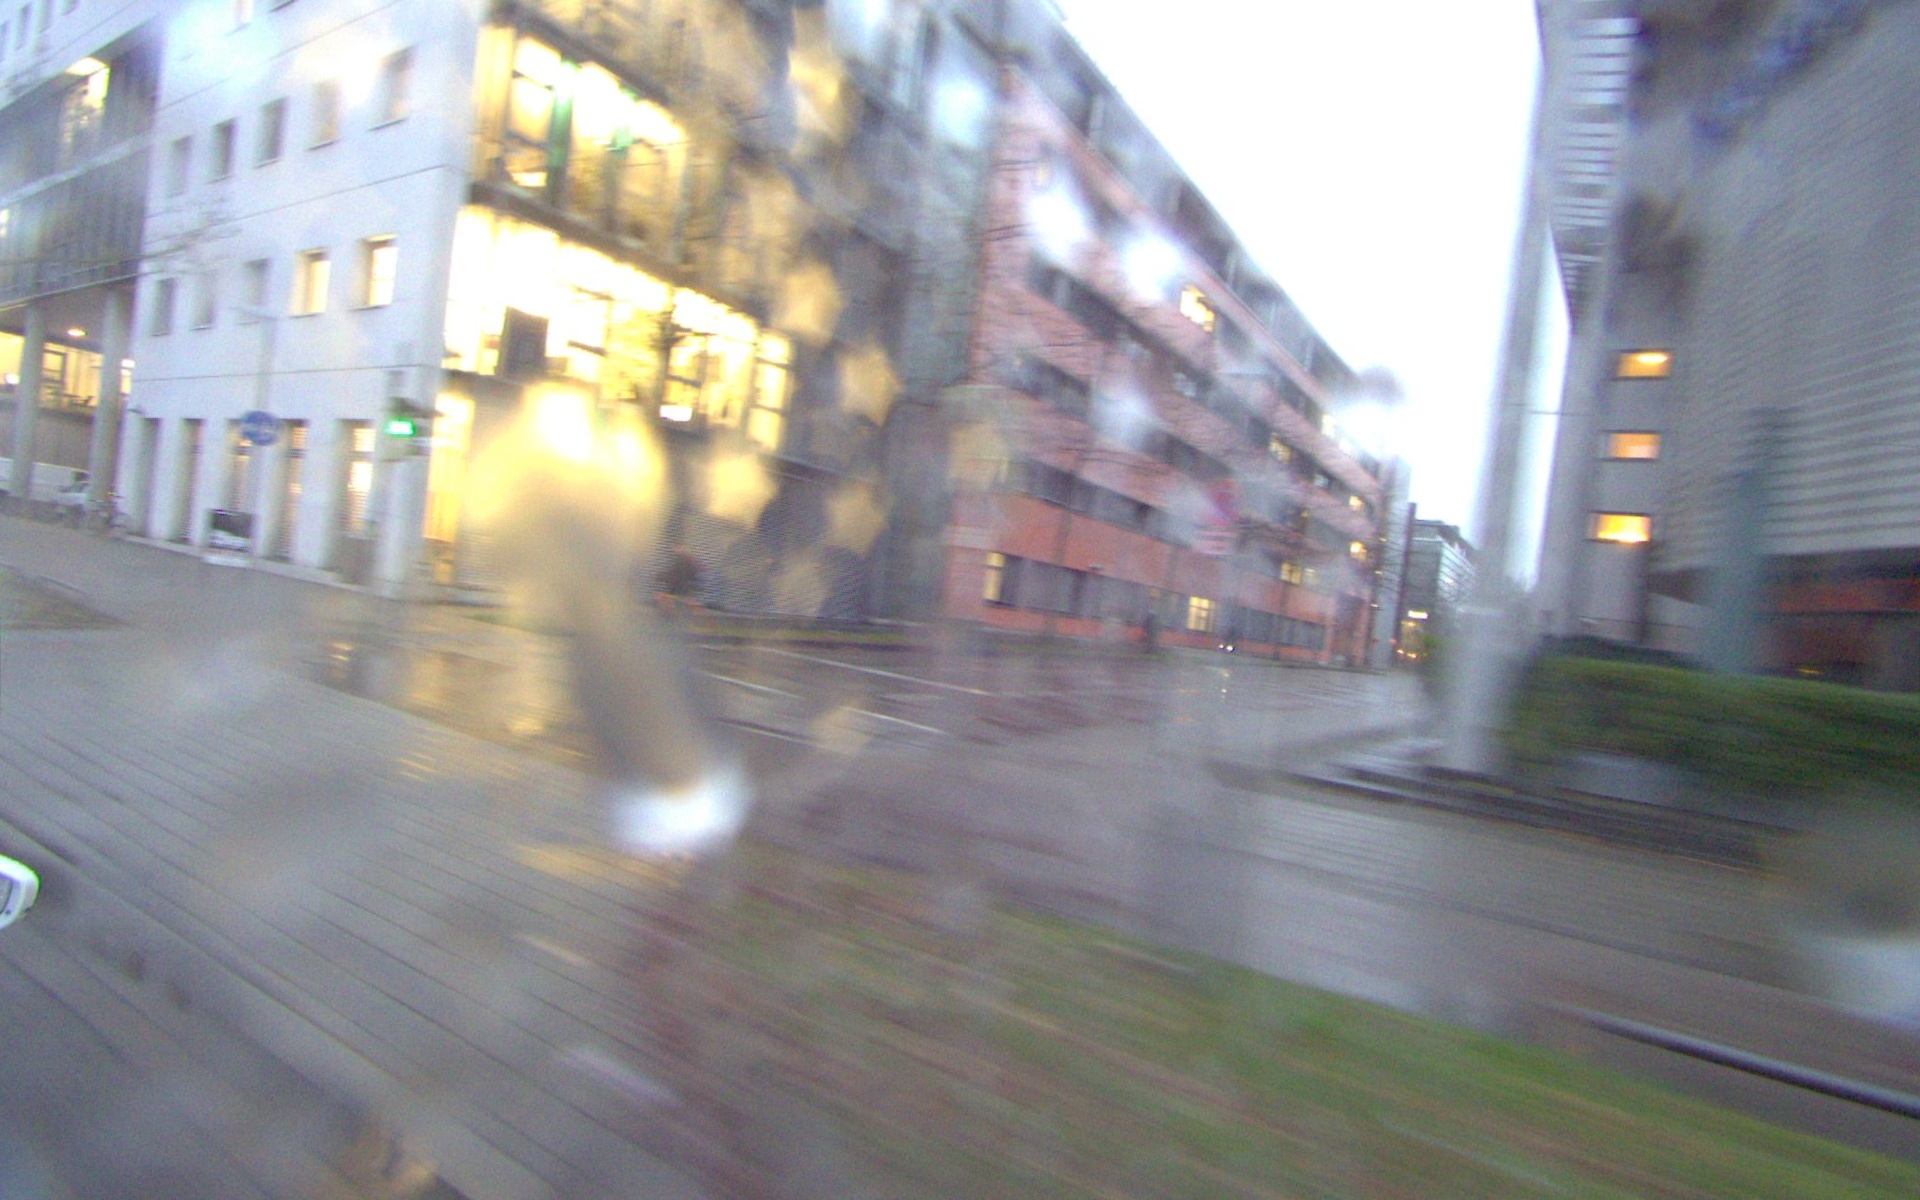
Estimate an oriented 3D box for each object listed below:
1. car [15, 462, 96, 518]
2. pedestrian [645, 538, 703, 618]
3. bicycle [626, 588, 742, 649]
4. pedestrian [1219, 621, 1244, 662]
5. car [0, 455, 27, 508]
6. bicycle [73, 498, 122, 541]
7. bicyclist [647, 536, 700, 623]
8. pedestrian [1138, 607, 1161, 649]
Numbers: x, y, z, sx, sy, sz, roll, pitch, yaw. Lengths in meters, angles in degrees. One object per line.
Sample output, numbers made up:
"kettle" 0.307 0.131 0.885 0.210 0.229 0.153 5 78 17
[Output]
"car" -34.772 -4.235 38.657 3.371 1.779 1.628 7 -2 39
"pedestrian" -6.474 -0.492 22.788 0.715 1.673 0.808 7 -1 36
"bicycle" -4.591 0.304 16.733 1.712 0.754 0.648 9 -2 -23
"pedestrian" 10.926 1.668 40.499 0.629 1.555 0.792 7 -1 28
"car" -35.929 -4.487 37.102 3.371 1.779 1.628 7 -2 39
"bicycle" -22.280 -2.078 25.987 1.060 0.940 0.374 9 0 19
"bicyclist" -4.740 -0.333 16.652 0.615 1.345 0.562 8 -1 -23
"pedestrian" 8.424 1.236 44.717 0.666 1.781 0.454 7 -1 35
